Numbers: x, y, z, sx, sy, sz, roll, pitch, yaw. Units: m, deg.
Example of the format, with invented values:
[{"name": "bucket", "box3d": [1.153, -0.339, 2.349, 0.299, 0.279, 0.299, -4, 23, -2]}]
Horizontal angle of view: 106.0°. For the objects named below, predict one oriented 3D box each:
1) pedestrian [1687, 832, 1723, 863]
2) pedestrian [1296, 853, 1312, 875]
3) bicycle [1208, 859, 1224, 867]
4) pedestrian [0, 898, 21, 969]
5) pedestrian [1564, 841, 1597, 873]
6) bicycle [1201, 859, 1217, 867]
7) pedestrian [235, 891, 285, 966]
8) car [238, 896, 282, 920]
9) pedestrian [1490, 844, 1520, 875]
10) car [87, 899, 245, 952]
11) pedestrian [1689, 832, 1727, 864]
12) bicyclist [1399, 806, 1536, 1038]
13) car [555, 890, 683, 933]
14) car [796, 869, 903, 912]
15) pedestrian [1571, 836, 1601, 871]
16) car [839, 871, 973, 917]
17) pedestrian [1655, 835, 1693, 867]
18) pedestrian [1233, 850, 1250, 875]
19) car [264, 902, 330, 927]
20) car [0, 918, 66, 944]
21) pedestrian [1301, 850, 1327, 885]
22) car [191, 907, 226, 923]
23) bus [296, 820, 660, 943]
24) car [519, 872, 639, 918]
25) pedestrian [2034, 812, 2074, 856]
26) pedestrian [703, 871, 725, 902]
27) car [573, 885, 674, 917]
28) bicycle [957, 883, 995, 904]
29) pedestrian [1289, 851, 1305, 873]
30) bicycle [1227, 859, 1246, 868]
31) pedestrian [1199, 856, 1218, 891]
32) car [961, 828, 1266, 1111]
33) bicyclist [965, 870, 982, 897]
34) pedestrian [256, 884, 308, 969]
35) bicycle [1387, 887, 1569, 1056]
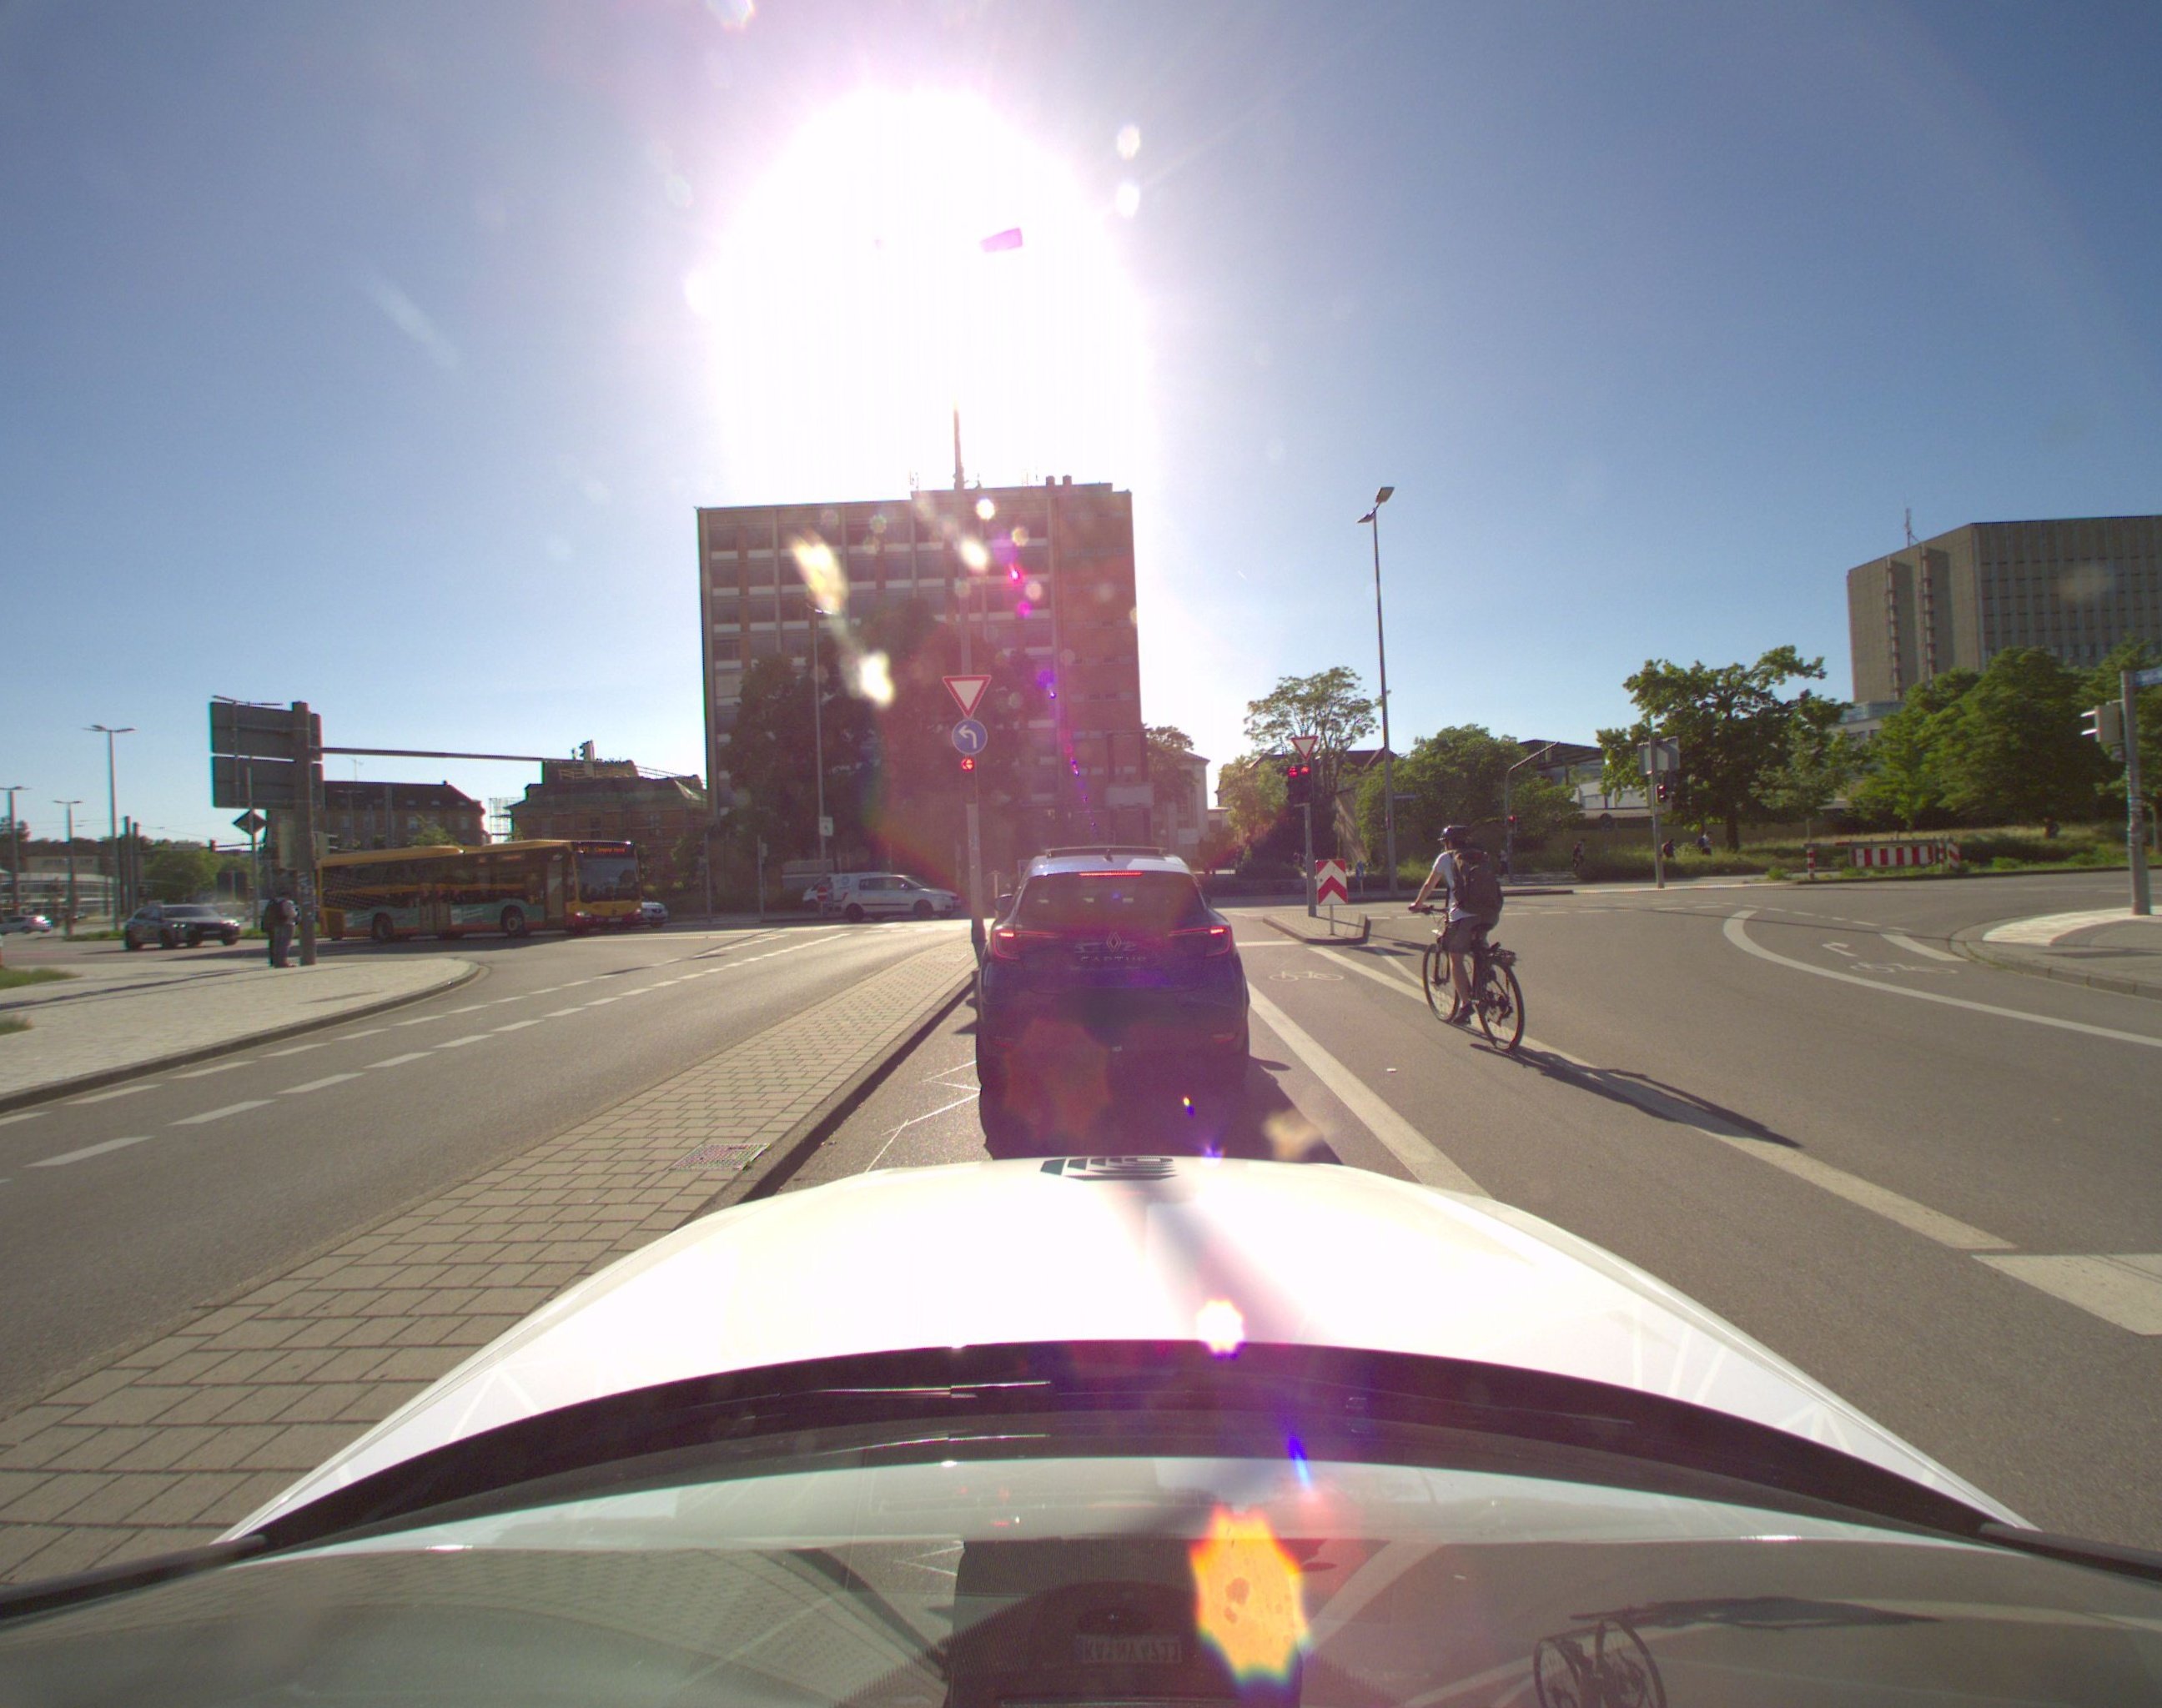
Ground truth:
[{"name": "pedestrian", "box3d": [31.772, -0.317, 41.484, 1.138, 1.521, 0.880, -3, -1, 5]}, {"name": "pedestrian", "box3d": [17.456, 0.788, 63.834, 0.932, 1.613, 1.176, -2, -1, 2]}, {"name": "bicycle", "box3d": [15.701, 1.053, 94.640, 1.764, 0.898, 0.766, -2, -1, 2]}, {"name": "pedestrian", "box3d": [-28.812, 2.118, 21.468, 0.856, 1.845, 0.847, -3, -1, 25]}, {"name": "pedestrian", "box3d": [24.841, 0.136, 40.525, 1.069, 1.521, 0.880, -2, -1, 6]}, {"name": "bicycle", "box3d": [15.556, 1.107, 99.010, 1.764, 0.893, 0.766, -2, -1, 2]}, {"name": "pedestrian", "box3d": [-19.275, 1.731, 19.128, 0.627, 1.697, 0.608, -3, -1, 25]}, {"name": "car", "box3d": [-76.447, 5.031, 75.833, 3.948, 2.014, 2.079, -1, -1, 33]}, {"name": "pedestrian", "box3d": [21.674, 0.259, 41.669, 1.078, 1.521, 0.933, -2, -1, 11]}, {"name": "car", "box3d": [-36.816, 2.865, 32.830, 4.697, 1.861, 2.011, -3, -1, 10]}, {"name": "pedestrian", "box3d": [31.471, -0.287, 40.877, 1.123, 1.521, 0.992, -2, -1, 5]}, {"name": "bicyclist", "box3d": [3.172, 0.527, 6.764, 0.674, 1.785, 0.939, -1, -1, 0]}, {"name": "car", "box3d": [-16.961, 2.108, 29.919, 3.957, 1.373, 1.767, -3, 0, 16]}, {"name": "car", "box3d": [-12.151, 1.891, 42.790, 4.960, 2.013, 2.081, -3, -1, 17]}, {"name": "pedestrian", "box3d": [25.715, -0.031, 41.505, 0.957, 1.732, 0.928, -2, -1, 8]}, {"name": "car", "box3d": [-5.695, 1.326, 26.717, 3.816, 1.403, 1.899, -2, -3, 14]}, {"name": "pedestrian", "box3d": [29.297, -0.134, 40.262, 1.140, 1.521, 0.944, -2, -1, 7]}, {"name": "pedestrian", "box3d": [13.648, 0.712, 69.377, 1.152, 2.013, 1.165, -2, -1, 2]}, {"name": "car", "box3d": [-52.063, 4.010, 54.066, 3.771, 1.518, 2.012, -3, -1, 27]}, {"name": "car", "box3d": [-85.047, 6.222, 65.439, 4.000, 1.772, 1.771, -2, 0, -19]}, {"name": "pedestrian", "box3d": [12.761, 0.727, 44.634, 1.288, 1.855, 0.969, -3, -1, 13]}, {"name": "car", "box3d": [-99.437, 6.977, 92.789, 3.948, 1.582, 2.013, -1, -1, 33]}, {"name": "bus", "box3d": [-20.616, 1.015, 27.756, 12.323, 3.570, 3.265, -3, -1, 18]}, {"name": "car", "box3d": [-31.178, 2.548, 50.570, 6.871, 2.547, 3.030, -3, -1, 25]}, {"name": "pedestrian", "box3d": [47.486, -0.952, 39.761, 0.891, 2.079, 0.814, -2, -1, 5]}, {"name": "pedestrian", "box3d": [-24.882, 2.190, 55.262, 0.815, 2.013, 1.021, -3, -1, 30]}, {"name": "car", "box3d": [-25.583, 2.623, 45.566, 4.804, 1.582, 2.111, -3, 0, 17]}, {"name": "bicycle", "box3d": [-5.679, 2.120, 44.183, 1.872, 1.007, 0.694, -2, -3, -27]}, {"name": "pedestrian", "box3d": [17.090, 0.625, 64.529, 0.949, 1.741, 0.984, -2, -1, 2]}, {"name": "bicycle", "box3d": [15.810, 0.944, 82.828, 1.770, 0.823, 0.763, -2, -1, -9]}, {"name": "pedestrian", "box3d": [7.078, 1.080, 45.263, 0.926, 1.855, 0.809, -3, -1, 11]}, {"name": "car", "box3d": [0.227, 0.682, 6.756, 1.788, 1.655, 3.853, -1, 0, 1]}, {"name": "bicyclist", "box3d": [-5.819, 1.602, 44.115, 0.640, 1.412, 0.643, -1, -3, -29]}, {"name": "pedestrian", "box3d": [-18.114, 1.625, 18.468, 0.673, 1.855, 0.608, -3, -1, 25]}, {"name": "bicycle", "box3d": [3.216, 0.888, 6.807, 0.613, 1.138, 1.826, -2, 0, 0]}]
